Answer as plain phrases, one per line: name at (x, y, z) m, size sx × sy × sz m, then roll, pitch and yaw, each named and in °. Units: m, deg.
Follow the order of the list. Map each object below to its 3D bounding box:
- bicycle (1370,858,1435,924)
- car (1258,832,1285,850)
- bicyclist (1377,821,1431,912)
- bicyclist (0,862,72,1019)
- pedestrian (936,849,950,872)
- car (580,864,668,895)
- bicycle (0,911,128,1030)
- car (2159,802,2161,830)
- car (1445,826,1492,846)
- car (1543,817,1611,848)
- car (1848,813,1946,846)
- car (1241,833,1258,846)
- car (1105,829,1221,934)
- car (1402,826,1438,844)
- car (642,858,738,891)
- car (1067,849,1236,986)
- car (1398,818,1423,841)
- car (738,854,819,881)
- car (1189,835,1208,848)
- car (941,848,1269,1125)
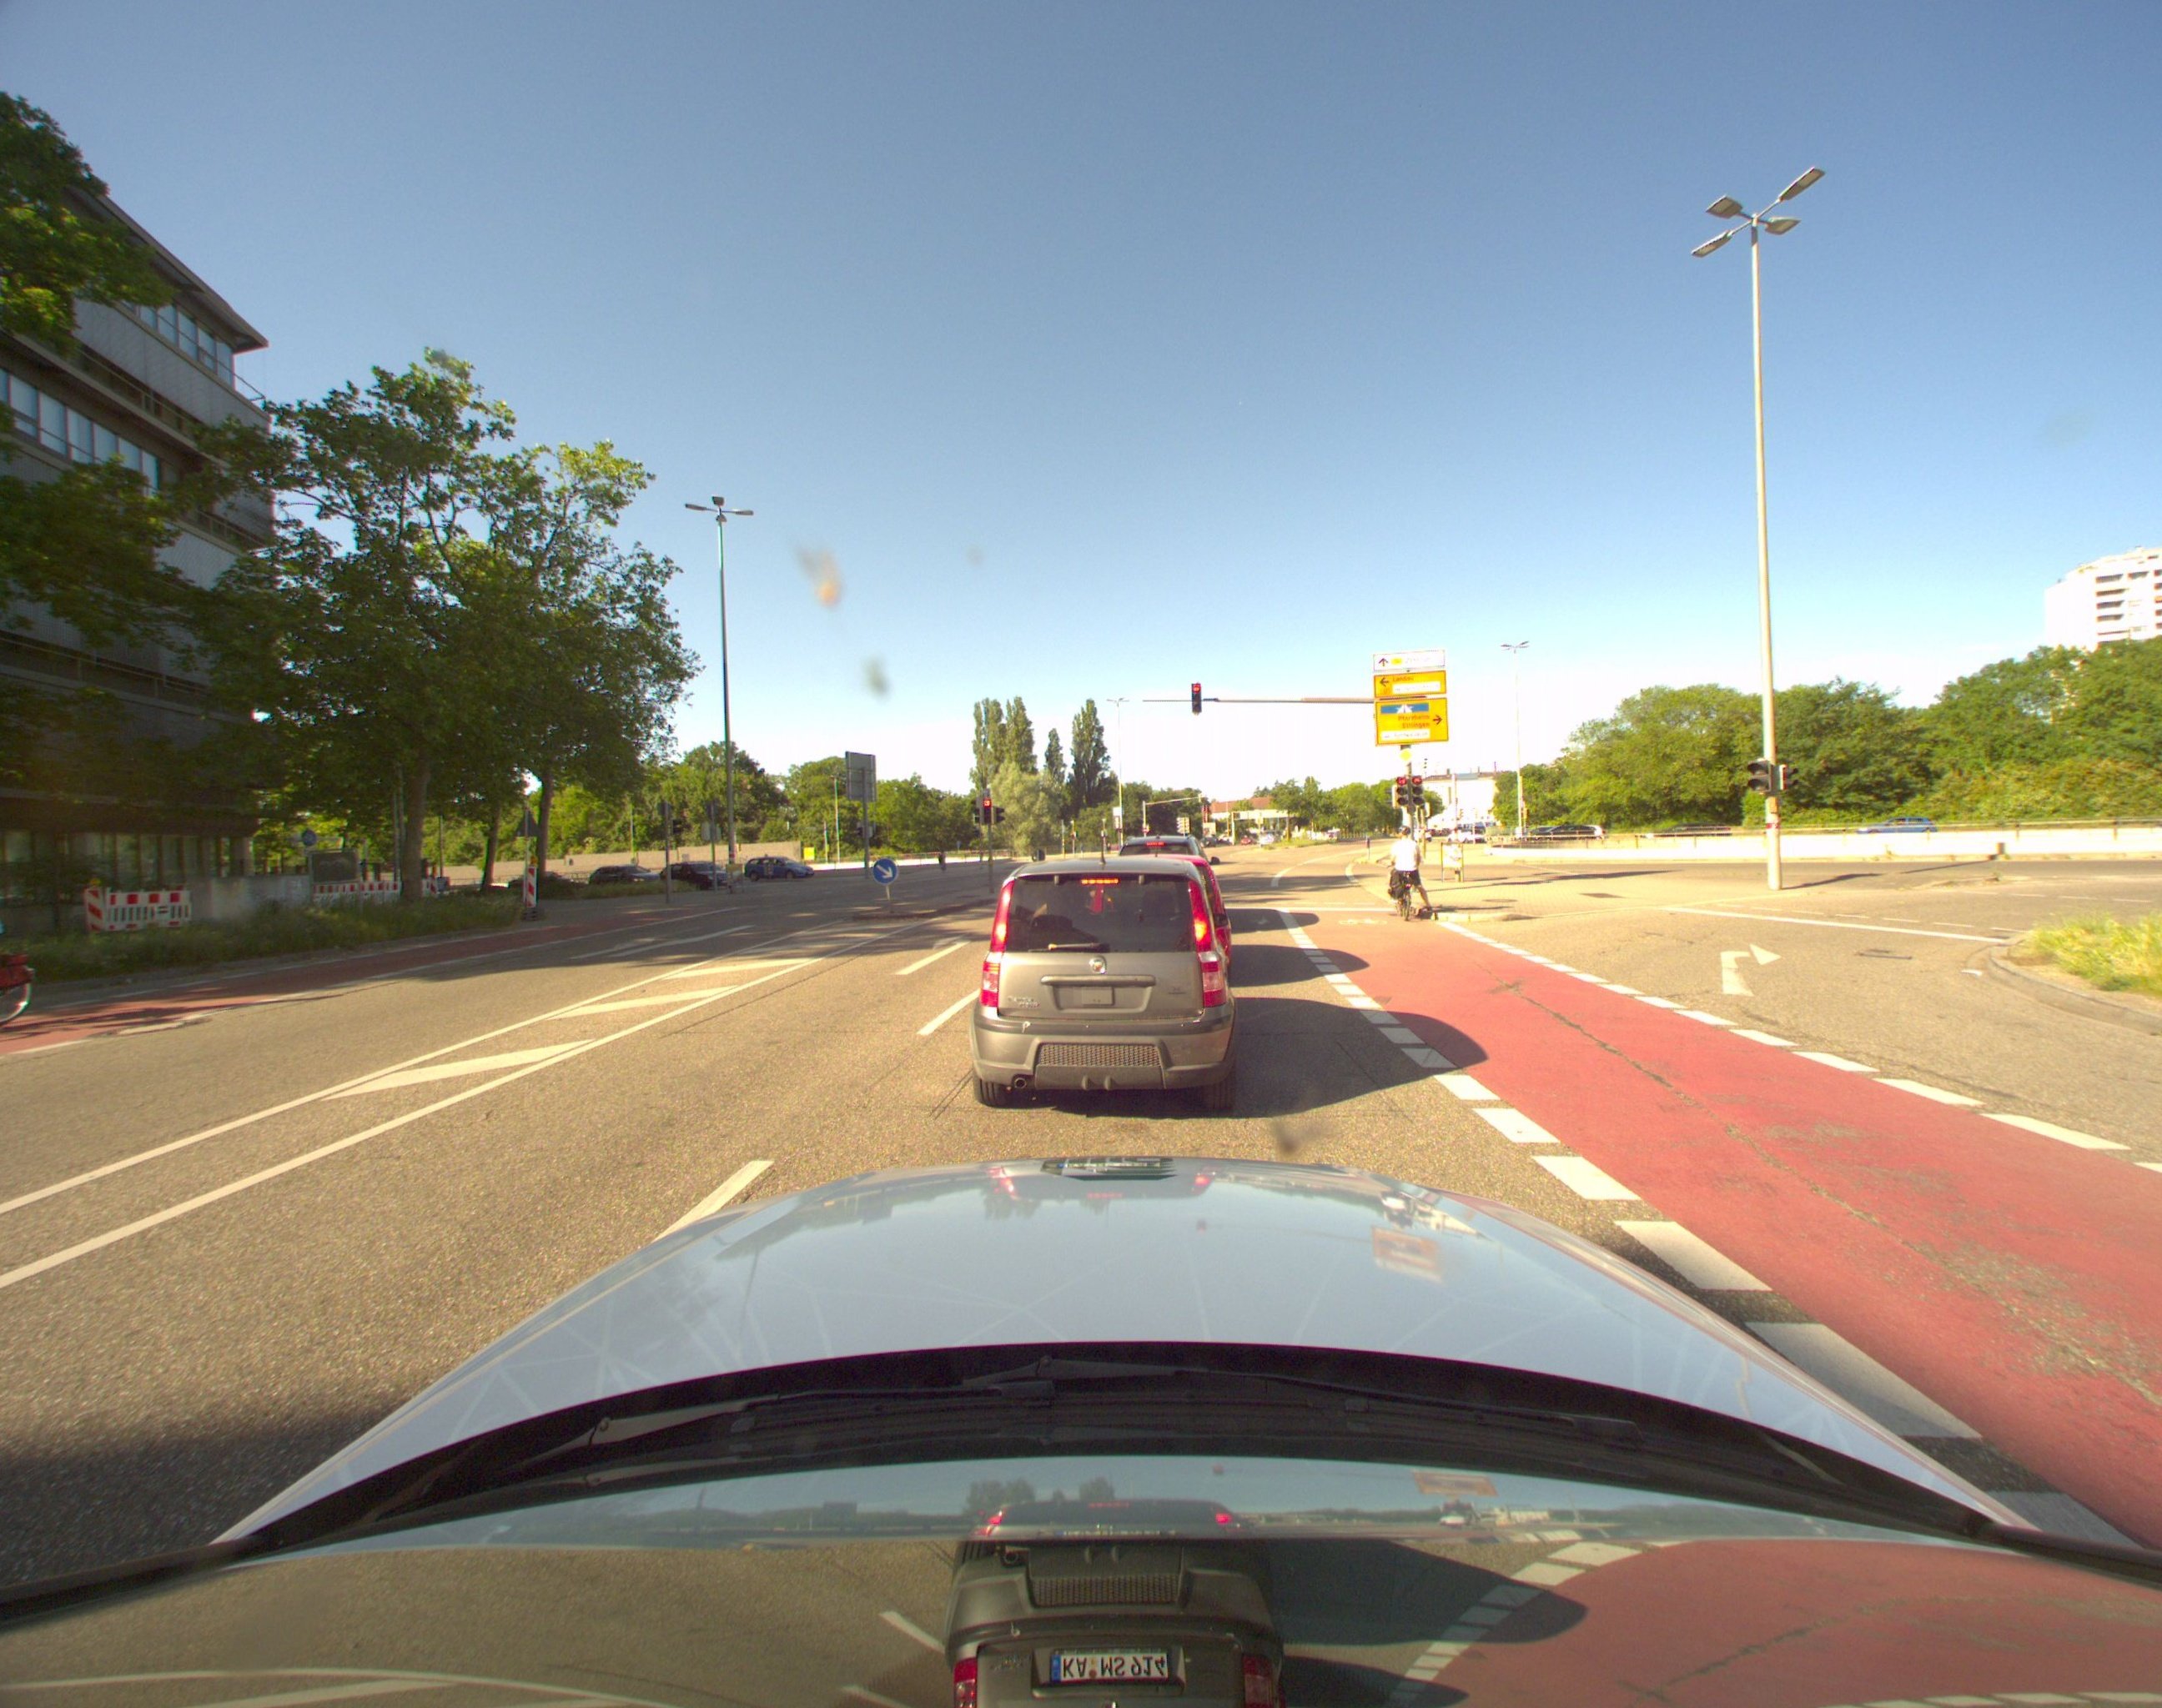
bicycle at (6.334, 0.685, 15.948) m, size 0.792 × 1.110 × 2.417 m, roll -1°, pitch 1°, yaw 31°
car at (22.783, -1.504, 97.308) m, size 1.994 × 1.855 × 4.914 m, roll -2°, pitch -2°, yaw 26°
bicyclist at (6.344, 0.221, 15.977) m, size 0.792 × 1.705 × 1.092 m, roll -1°, pitch 1°, yaw 31°
bicyclist at (-12.101, 0.955, 8.858) m, size 0.685 × 1.701 × 1.197 m, roll -2°, pitch 0°, yaw -1°
pedestrian at (-9.554, 0.443, 56.454) m, size 0.684 × 1.538 × 1.365 m, roll -1°, pitch -4°, yaw 0°
car at (-24.955, 1.390, 44.444) m, size 4.396 × 1.438 × 1.836 m, roll -2°, pitch 0°, yaw 24°
bicycle at (-12.086, 1.322, 8.852) m, size 0.685 × 1.202 × 2.326 m, roll -2°, pitch 0°, yaw 0°
car at (63.697, -2.207, 45.452) m, size 3.948 × 1.618 × 1.739 m, roll -1°, pitch 1°, yaw 38°
car at (37.489, -1.698, 78.862) m, size 1.997 × 1.750 × 3.978 m, roll -1°, pitch -2°, yaw -16°
car at (36.397, -1.550, 59.758) m, size 3.948 × 2.014 × 2.012 m, roll -3°, pitch -2°, yaw 40°
car at (53.454, -1.584, 53.468) m, size 4.205 × 1.855 × 2.032 m, roll -2°, pitch -2°, yaw 34°
car at (28.352, -2.389, 137.044) m, size 1.996 × 1.855 × 4.911 m, roll -2°, pitch -2°, yaw 21°
car at (1.773, 0.443, 16.205) m, size 1.857 × 1.790 × 4.428 m, roll 0°, pitch 1°, yaw 11°
car at (37.185, -2.085, 89.409) m, size 1.989 × 1.750 × 3.994 m, roll -1°, pitch -2°, yaw -4°
car at (-19.638, 1.040, 40.886) m, size 4.396 × 1.438 × 1.836 m, roll -2°, pitch 0°, yaw 24°
car at (0.927, 0.681, 10.842) m, size 1.811 × 1.479 × 4.005 m, roll 0°, pitch 0°, yaw 5°
car at (42.661, -3.161, 105.433) m, size 2.232 × 2.607 × 4.916 m, roll -2°, pitch -2°, yaw 30°
car at (-18.860, 0.830, 50.808) m, size 4.404 × 1.438 × 1.833 m, roll -2°, pitch 0°, yaw 14°
car at (17.953, -1.905, 123.930) m, size 1.996 × 1.855 × 4.452 m, roll -2°, pitch -2°, yaw 19°
car at (0.313, 0.705, 6.496) m, size 1.811 × 1.489 × 4.006 m, roll 0°, pitch 1°, yaw 5°
